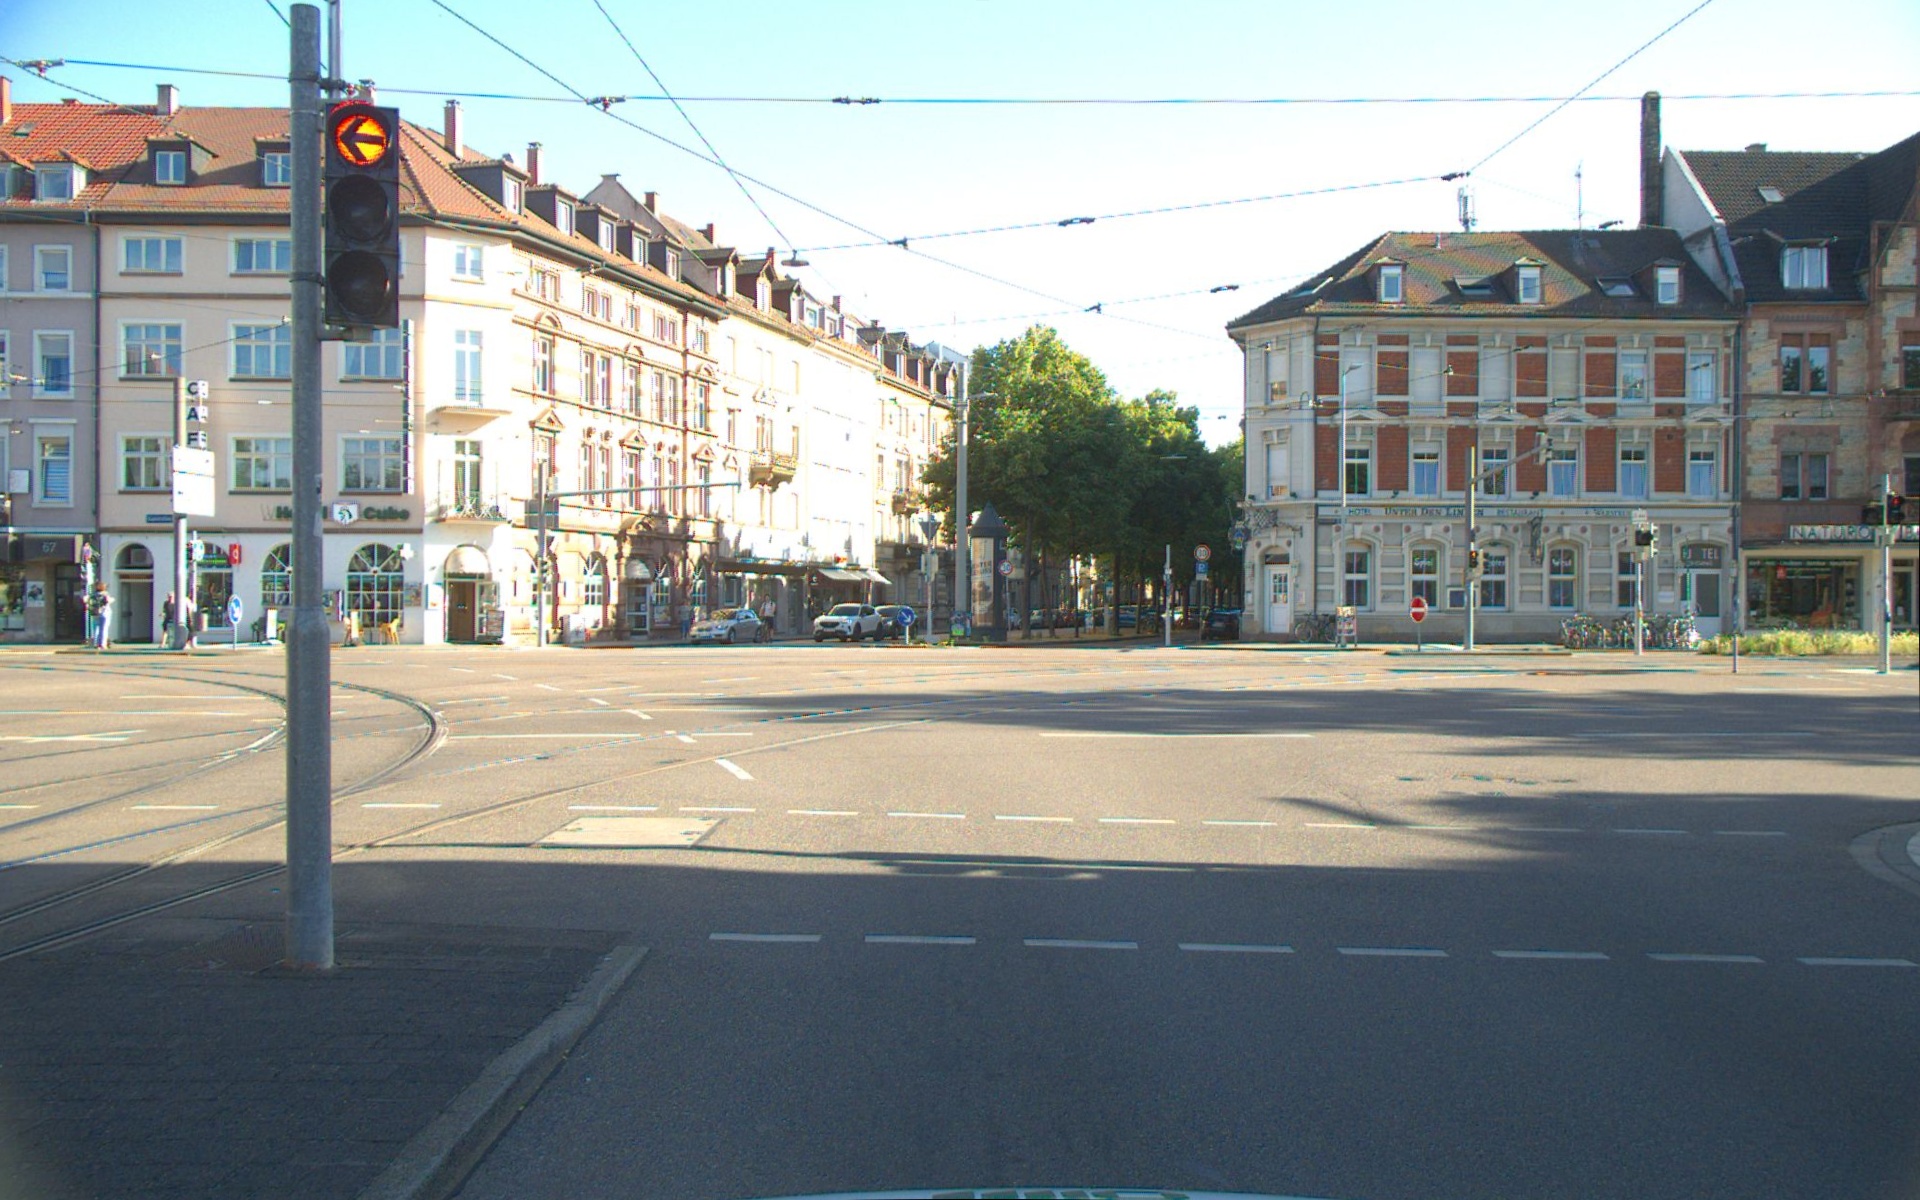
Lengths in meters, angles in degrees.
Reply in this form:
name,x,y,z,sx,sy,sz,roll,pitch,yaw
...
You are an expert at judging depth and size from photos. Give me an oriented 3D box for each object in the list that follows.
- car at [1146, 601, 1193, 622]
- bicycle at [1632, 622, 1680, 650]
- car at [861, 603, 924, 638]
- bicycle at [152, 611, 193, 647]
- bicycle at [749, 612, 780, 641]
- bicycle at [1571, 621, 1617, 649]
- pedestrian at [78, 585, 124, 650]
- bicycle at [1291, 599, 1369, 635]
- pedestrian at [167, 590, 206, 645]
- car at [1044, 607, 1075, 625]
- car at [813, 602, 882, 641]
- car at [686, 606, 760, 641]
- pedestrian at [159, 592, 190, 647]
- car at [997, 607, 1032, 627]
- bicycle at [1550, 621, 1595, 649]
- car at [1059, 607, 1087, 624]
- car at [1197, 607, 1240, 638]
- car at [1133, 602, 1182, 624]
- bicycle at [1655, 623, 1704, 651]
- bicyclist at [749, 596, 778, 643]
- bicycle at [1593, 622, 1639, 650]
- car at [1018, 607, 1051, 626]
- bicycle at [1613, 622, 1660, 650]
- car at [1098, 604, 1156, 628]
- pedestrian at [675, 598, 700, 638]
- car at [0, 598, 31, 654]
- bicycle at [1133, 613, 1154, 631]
name,x,y,z,sx,sy,sz,roll,pitch,yaw
car,16.933,0.898,133.747,3.503,1.677,1.684,0,0,16
bicycle,22.485,1.168,53.482,0.645,0.855,2.160,1,0,0
car,-2.955,0.887,73.552,1.642,1.509,3.950,0,0,16
bicycle,-24.694,0.903,51.908,0.561,1.096,1.497,1,0,-1
bicycle,-7.687,1.044,65.127,0.687,1.137,1.636,1,0,13
bicycle,20.475,1.132,53.456,0.645,0.855,2.160,1,0,0
pedestrian,-21.439,0.430,41.293,0.539,1.605,0.832,1,-1,27
bicycle,12.861,0.597,57.458,2.504,1.194,0.818,1,-1,-4
pedestrian,-23.028,0.514,49.233,0.715,1.605,0.828,0,-1,43
car,7.884,1.222,130.844,1.642,1.378,3.593,0,0,16
car,-4.542,0.842,67.227,1.642,1.509,3.774,0,0,16
car,-9.546,0.930,66.745,1.642,1.378,3.593,0,0,16
pedestrian,-24.688,0.599,51.976,0.570,1.699,0.752,1,-1,-1
car,3.814,1.164,115.515,1.642,1.378,3.593,0,0,16
bicycle,19.755,1.119,53.368,0.645,0.855,2.160,1,0,0
car,9.308,1.260,135.896,1.642,1.378,3.593,0,0,16
car,12.951,1.115,82.750,1.642,1.509,3.950,0,0,16
car,15.311,0.971,128.247,3.503,1.677,1.684,0,0,16
bicycle,23.274,1.182,53.528,0.645,0.855,2.160,1,0,0
bicyclist,-7.720,0.764,65.004,0.761,1.834,1.056,1,-1,13
bicycle,21.187,1.145,53.469,0.645,0.855,2.160,1,0,0
car,5.525,1.226,122.502,1.642,1.378,3.593,0,0,16
bicycle,21.857,1.157,53.503,0.645,0.855,2.160,1,0,0
car,11.706,1.125,115.835,3.819,1.677,1.684,0,0,16
pedestrian,-11.694,0.774,71.004,0.759,1.699,0.831,1,-1,15
car,-32.158,0.774,52.256,4.276,1.741,2.306,1,0,1
bicycle,11.044,1.304,99.627,0.625,1.039,1.840,1,0,-14
